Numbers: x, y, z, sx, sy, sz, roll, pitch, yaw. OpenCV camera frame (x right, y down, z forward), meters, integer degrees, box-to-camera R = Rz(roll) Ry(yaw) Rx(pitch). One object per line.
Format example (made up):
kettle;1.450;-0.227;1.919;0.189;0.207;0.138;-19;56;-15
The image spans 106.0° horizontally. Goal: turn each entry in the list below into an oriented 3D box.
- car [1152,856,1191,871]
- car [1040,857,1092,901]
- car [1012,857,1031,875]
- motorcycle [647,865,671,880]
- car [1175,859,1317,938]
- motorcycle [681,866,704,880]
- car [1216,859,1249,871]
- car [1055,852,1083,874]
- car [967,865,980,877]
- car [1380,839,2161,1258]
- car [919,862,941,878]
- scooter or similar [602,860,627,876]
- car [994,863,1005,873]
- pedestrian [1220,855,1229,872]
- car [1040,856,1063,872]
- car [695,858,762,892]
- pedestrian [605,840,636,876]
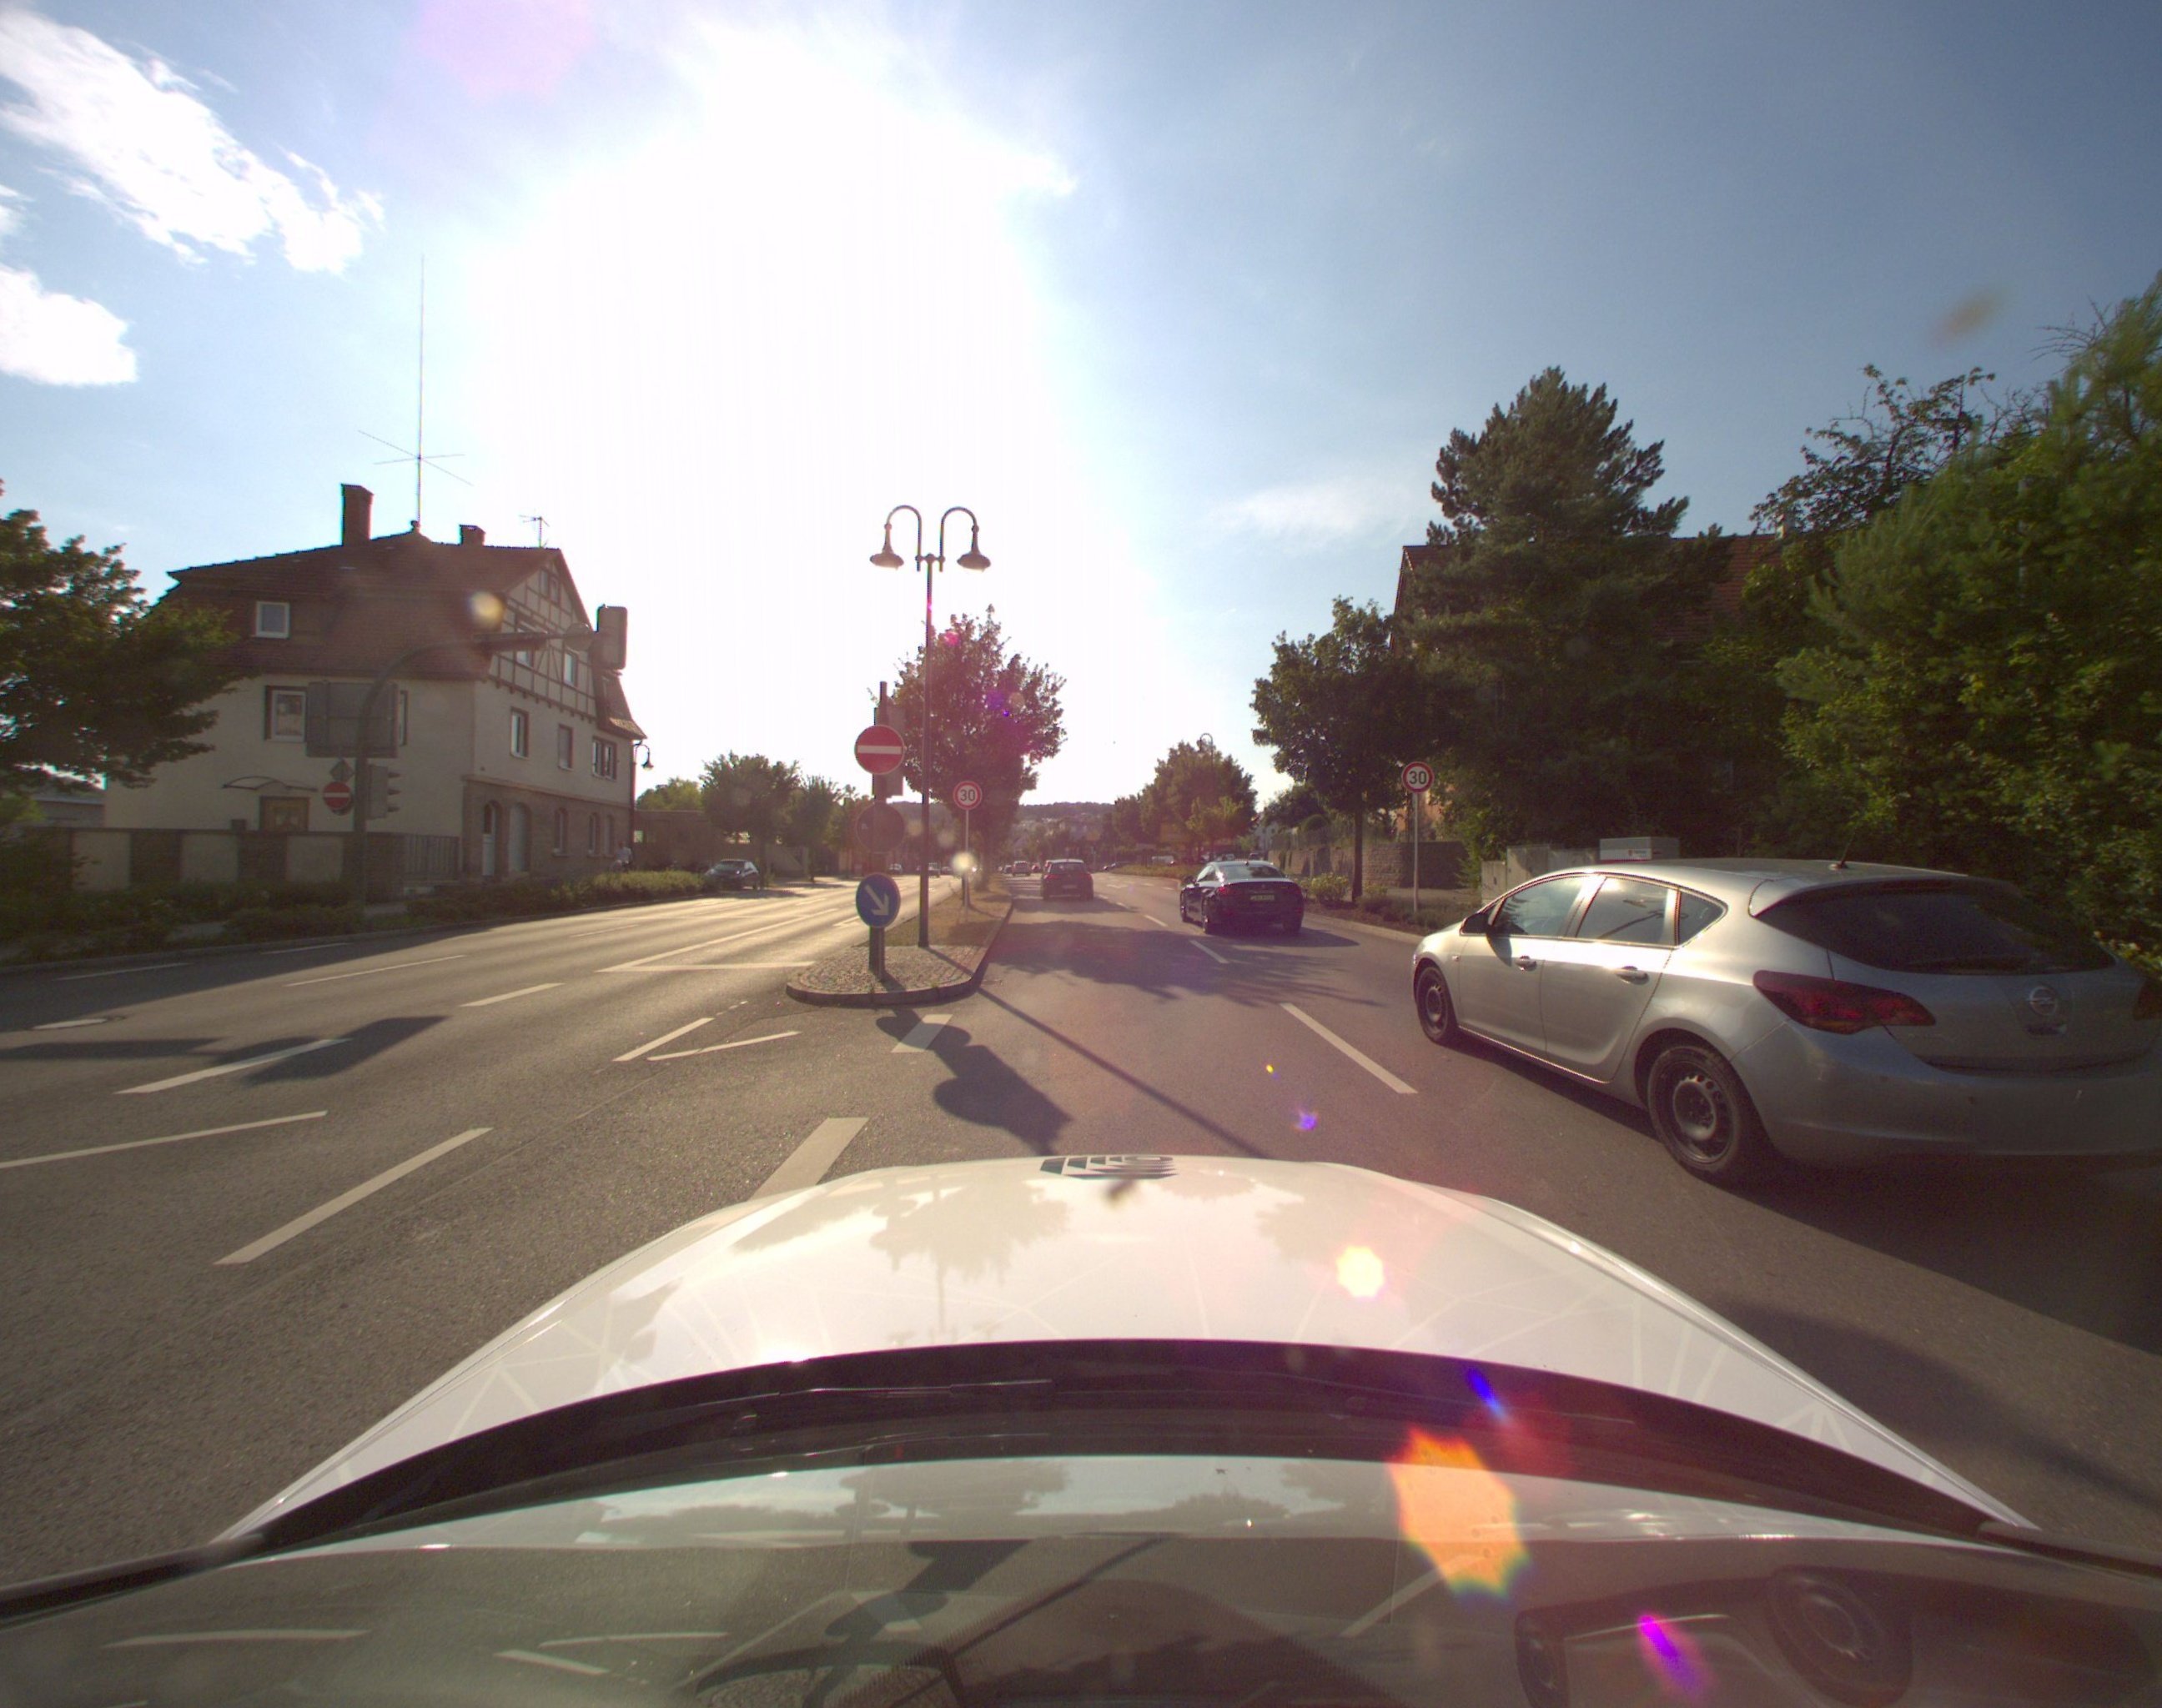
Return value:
car;12.931;1.393;116.751;5.123;2.130;2.133;0;0;-19
car;-0.468;0.849;29.793;1.715;1.490;4.354;0;0;1
car;-6.234;1.213;85.118;1.754;1.769;3.962;-1;0;-6
motorcycle;-32.979;1.457;63.681;0.511;1.107;1.647;-1;-1;26
car;3.186;0.816;16.679;1.915;1.364;4.349;-1;-1;-2
motorcycle;-30.541;1.513;64.002;0.511;1.069;1.647;-1;-1;26
car;23.283;1.711;125.425;4.629;1.829;1.994;-1;-1;-9
car;-1.019;0.729;67.885;1.923;1.769;4.444;-1;0;-6
car;-16.480;2.591;125.009;1.727;1.679;3.994;-1;-1;-4
car;3.573;0.694;5.130;1.716;1.490;4.304;-1;0;-1
car;-14.208;1.488;76.860;1.754;1.361;4.474;-1;0;-6
scooter or similar;-17.538;0.526;30.652;0.443;0.582;1.041;-1;0;-7
car;-16.086;2.751;160.311;1.768;2.014;3.997;-1;0;-2
pedestrian;14.358;0.912;81.556;0.693;1.703;0.950;-1;-1;2
car;-3.371;1.118;91.716;2.214;1.769;4.444;-1;0;-6
car;-17.245;1.000;40.030;1.753;1.454;4.124;4;-1;-5
pedestrian;-17.806;0.153;31.491;0.812;1.394;0.705;-1;0;-7
